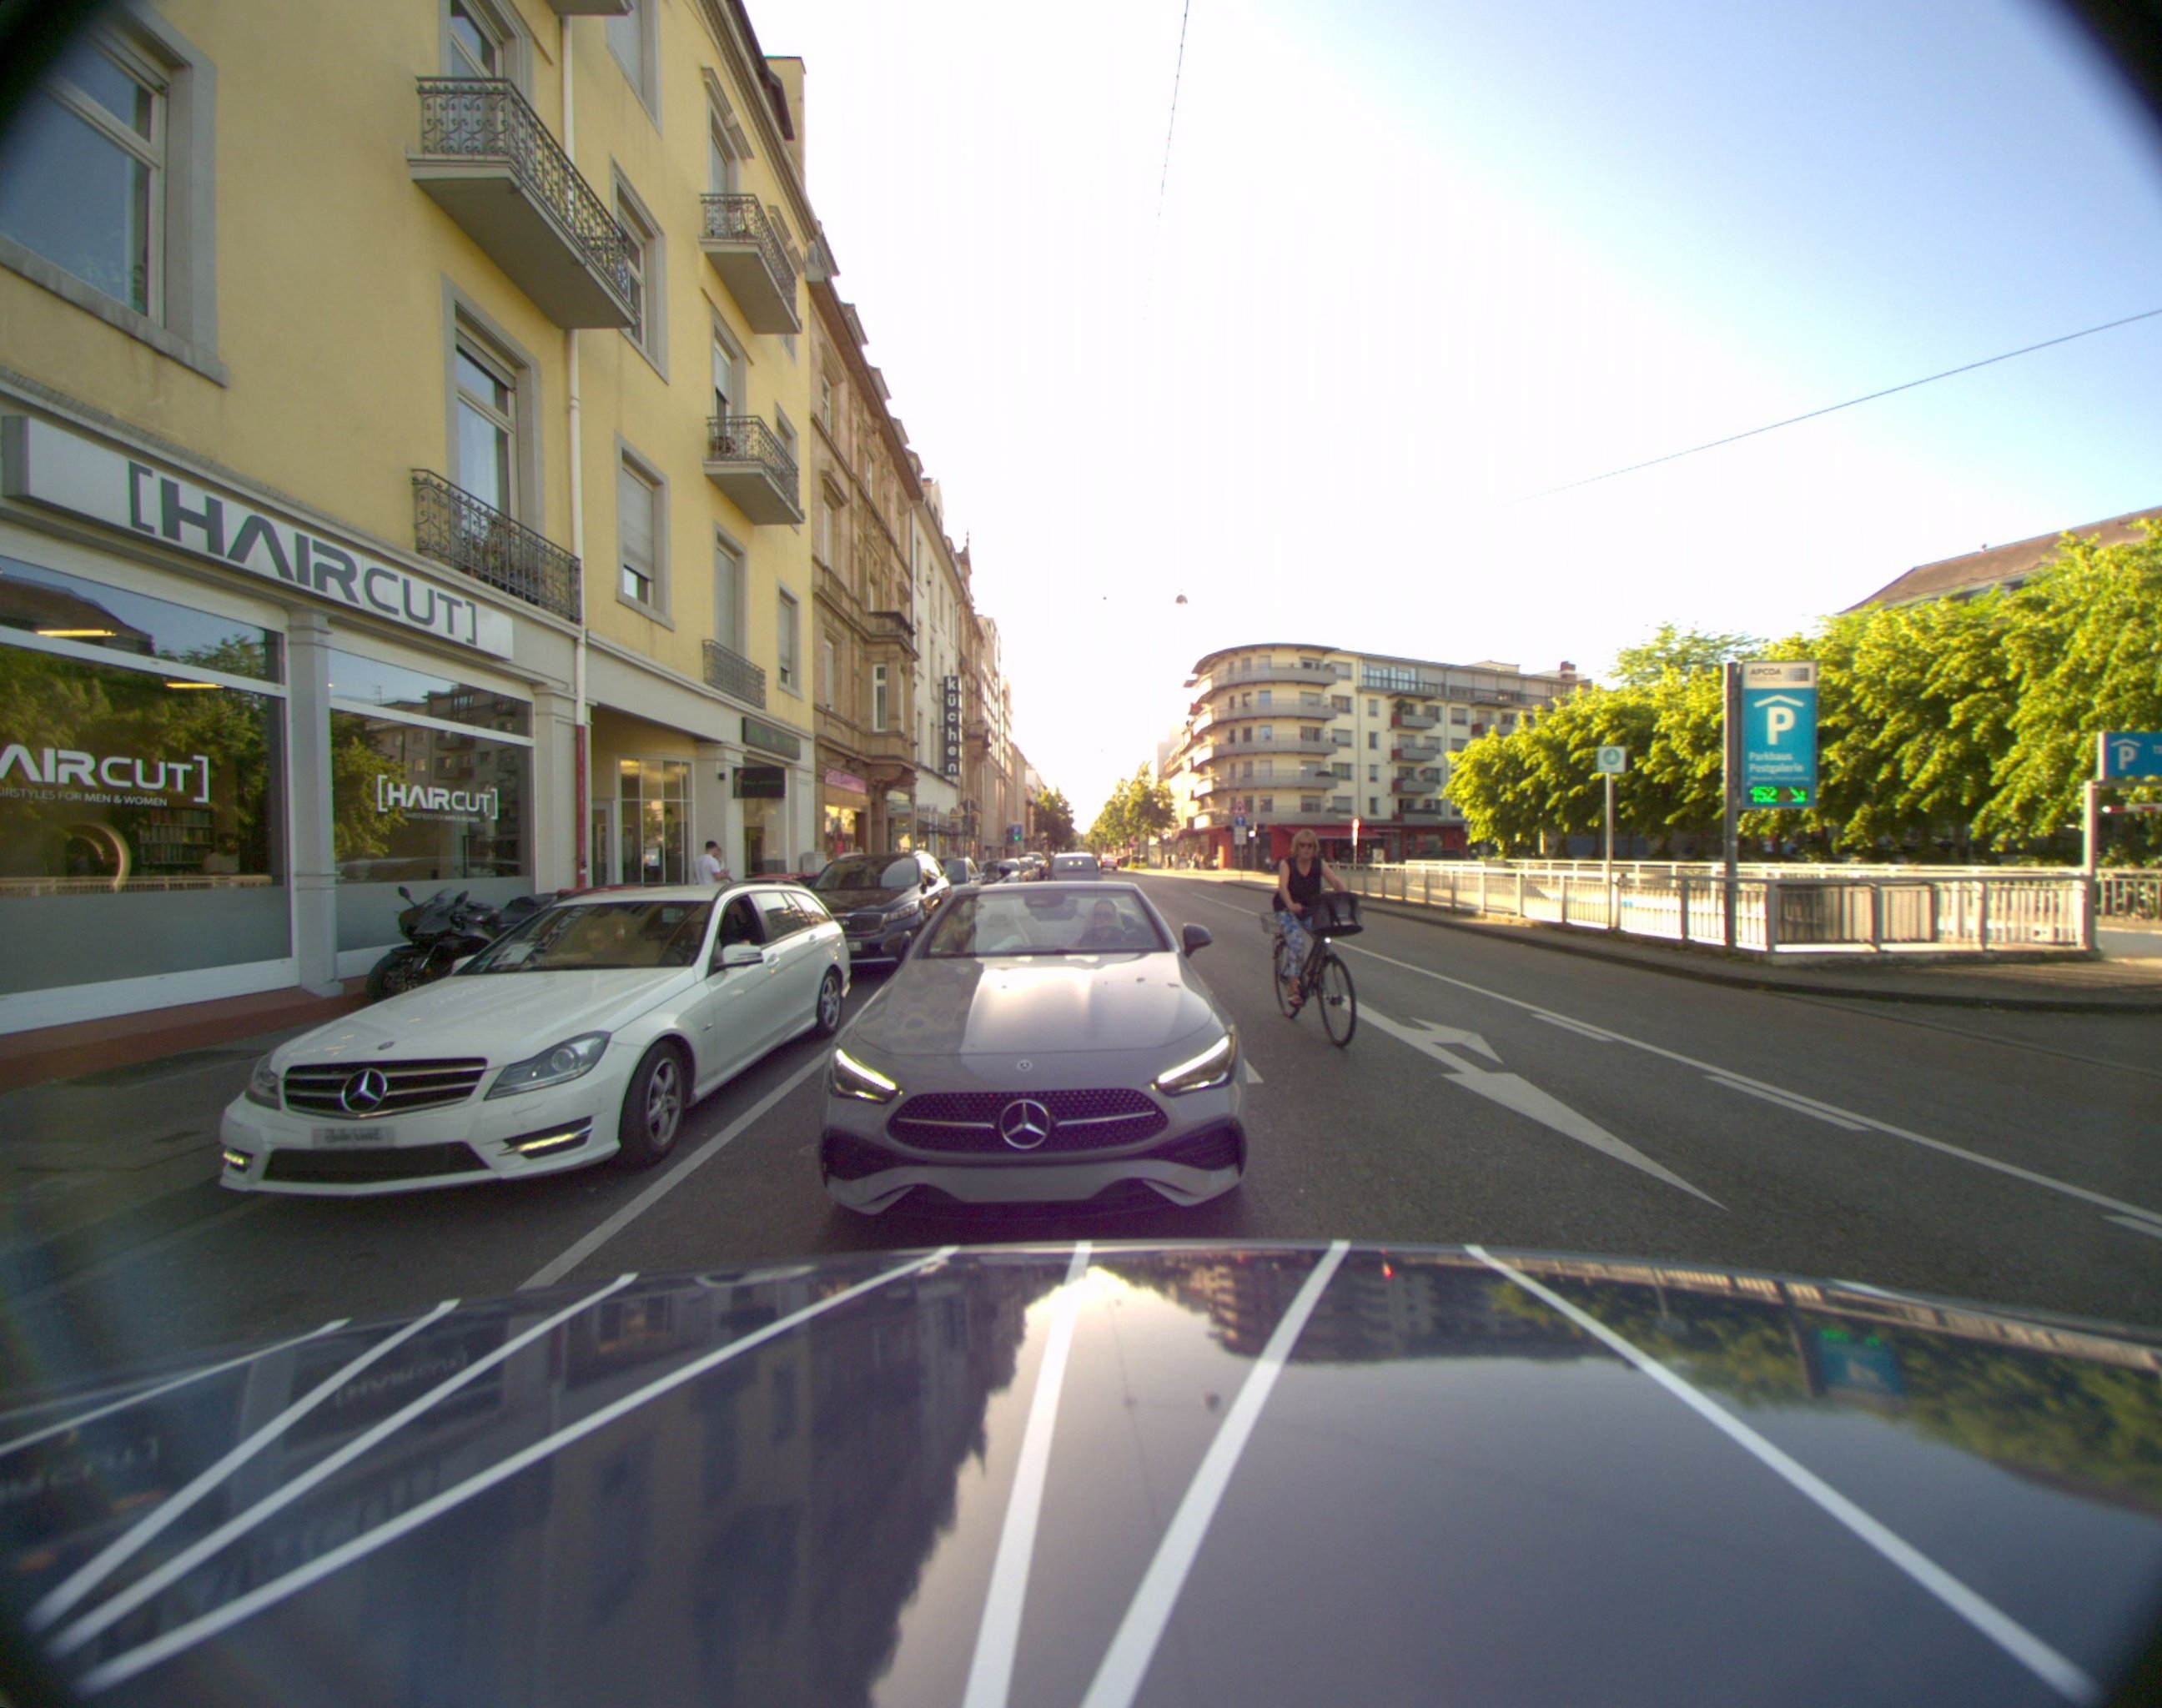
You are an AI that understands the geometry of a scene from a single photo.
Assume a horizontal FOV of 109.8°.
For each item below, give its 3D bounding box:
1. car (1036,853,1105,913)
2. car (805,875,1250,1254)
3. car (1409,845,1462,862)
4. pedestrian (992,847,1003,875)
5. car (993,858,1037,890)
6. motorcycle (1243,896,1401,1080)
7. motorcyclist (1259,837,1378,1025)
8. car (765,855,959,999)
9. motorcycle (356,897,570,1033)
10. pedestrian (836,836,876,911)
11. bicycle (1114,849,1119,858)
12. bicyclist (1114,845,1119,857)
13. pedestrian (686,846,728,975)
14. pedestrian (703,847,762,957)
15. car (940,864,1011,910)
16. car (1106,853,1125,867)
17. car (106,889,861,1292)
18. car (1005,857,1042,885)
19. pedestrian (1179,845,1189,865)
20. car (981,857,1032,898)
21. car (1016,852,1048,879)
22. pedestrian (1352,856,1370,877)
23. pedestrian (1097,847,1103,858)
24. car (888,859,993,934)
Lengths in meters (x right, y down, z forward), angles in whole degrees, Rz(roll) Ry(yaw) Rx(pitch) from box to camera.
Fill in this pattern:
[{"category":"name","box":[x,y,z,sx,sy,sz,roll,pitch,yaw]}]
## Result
[{"category":"car","box":[-0.255,0.794,22.978,1.856,1.543,3.999,-2,1,1]},{"category":"car","box":[-0.258,0.933,5.171,1.802,1.351,3.999,-2,1,-1]},{"category":"car","box":[29.159,-0.060,62.483,4.004,1.294,1.753,-2,1,-23]},{"category":"pedestrian","box":[-5.683,0.478,51.898,0.574,1.840,0.665,-2,1,1]},{"category":"car","box":[-3.145,0.936,36.852,1.802,1.332,3.838,-2,1,-1]},{"category":"motorcycle","box":[1.941,1.024,6.427,0.720,1.177,1.906,-2,1,1]},{"category":"motorcyclist","box":[1.928,0.598,6.260,0.722,1.438,0.705,-2,1,1]},{"category":"car","box":[-2.982,0.881,11.330,1.803,1.629,4.243,-2,1,-3]},{"category":"motorcycle","box":[-6.171,1.044,7.758,0.567,1.072,1.954,2,1,1]},{"category":"pedestrian","box":[-5.157,0.435,17.381,0.720,1.644,0.604,-2,0,-26]},{"category":"bicycle","box":[4.464,-0.049,94.700,0.527,1.163,1.593,-2,1,2]},{"category":"bicyclist","box":[4.447,-0.397,94.652,0.524,1.539,0.798,-2,1,2]},{"category":"pedestrian","box":[-5.929,0.866,12.031,0.375,1.971,0.692,-2,1,-43]},{"category":"pedestrian","box":[-5.981,0.804,13.064,0.664,1.840,0.575,-2,1,2]},{"category":"car","box":[-3.412,1.038,25.285,1.802,1.259,4.085,-2,1,-1]},{"category":"car","box":[3.538,0.603,78.020,1.823,1.346,4.264,1,1,1]},{"category":"car","box":[-3.074,1.074,5.297,1.704,1.351,4.378,-2,1,1]},{"category":"car","box":[-3.086,0.873,41.289,1.725,1.332,3.668,-2,1,-1]},{"category":"pedestrian","box":[10.433,0.072,77.021,0.860,2.002,0.889,-2,1,0]},{"category":"car","box":[-2.960,0.898,30.735,1.660,1.423,4.085,-2,1,-1]},{"category":"car","box":[-3.014,0.695,47.538,1.725,1.506,4.004,-2,1,-1]},{"category":"pedestrian","box":[21.774,1.006,59.081,0.863,1.586,0.887,-3,1,-38]},{"category":"pedestrian","box":[3.280,-0.266,132.137,0.860,2.002,0.889,-2,1,1]},{"category":"car","box":[-3.292,0.942,18.624,1.802,1.518,4.085,-2,1,-1]}]
